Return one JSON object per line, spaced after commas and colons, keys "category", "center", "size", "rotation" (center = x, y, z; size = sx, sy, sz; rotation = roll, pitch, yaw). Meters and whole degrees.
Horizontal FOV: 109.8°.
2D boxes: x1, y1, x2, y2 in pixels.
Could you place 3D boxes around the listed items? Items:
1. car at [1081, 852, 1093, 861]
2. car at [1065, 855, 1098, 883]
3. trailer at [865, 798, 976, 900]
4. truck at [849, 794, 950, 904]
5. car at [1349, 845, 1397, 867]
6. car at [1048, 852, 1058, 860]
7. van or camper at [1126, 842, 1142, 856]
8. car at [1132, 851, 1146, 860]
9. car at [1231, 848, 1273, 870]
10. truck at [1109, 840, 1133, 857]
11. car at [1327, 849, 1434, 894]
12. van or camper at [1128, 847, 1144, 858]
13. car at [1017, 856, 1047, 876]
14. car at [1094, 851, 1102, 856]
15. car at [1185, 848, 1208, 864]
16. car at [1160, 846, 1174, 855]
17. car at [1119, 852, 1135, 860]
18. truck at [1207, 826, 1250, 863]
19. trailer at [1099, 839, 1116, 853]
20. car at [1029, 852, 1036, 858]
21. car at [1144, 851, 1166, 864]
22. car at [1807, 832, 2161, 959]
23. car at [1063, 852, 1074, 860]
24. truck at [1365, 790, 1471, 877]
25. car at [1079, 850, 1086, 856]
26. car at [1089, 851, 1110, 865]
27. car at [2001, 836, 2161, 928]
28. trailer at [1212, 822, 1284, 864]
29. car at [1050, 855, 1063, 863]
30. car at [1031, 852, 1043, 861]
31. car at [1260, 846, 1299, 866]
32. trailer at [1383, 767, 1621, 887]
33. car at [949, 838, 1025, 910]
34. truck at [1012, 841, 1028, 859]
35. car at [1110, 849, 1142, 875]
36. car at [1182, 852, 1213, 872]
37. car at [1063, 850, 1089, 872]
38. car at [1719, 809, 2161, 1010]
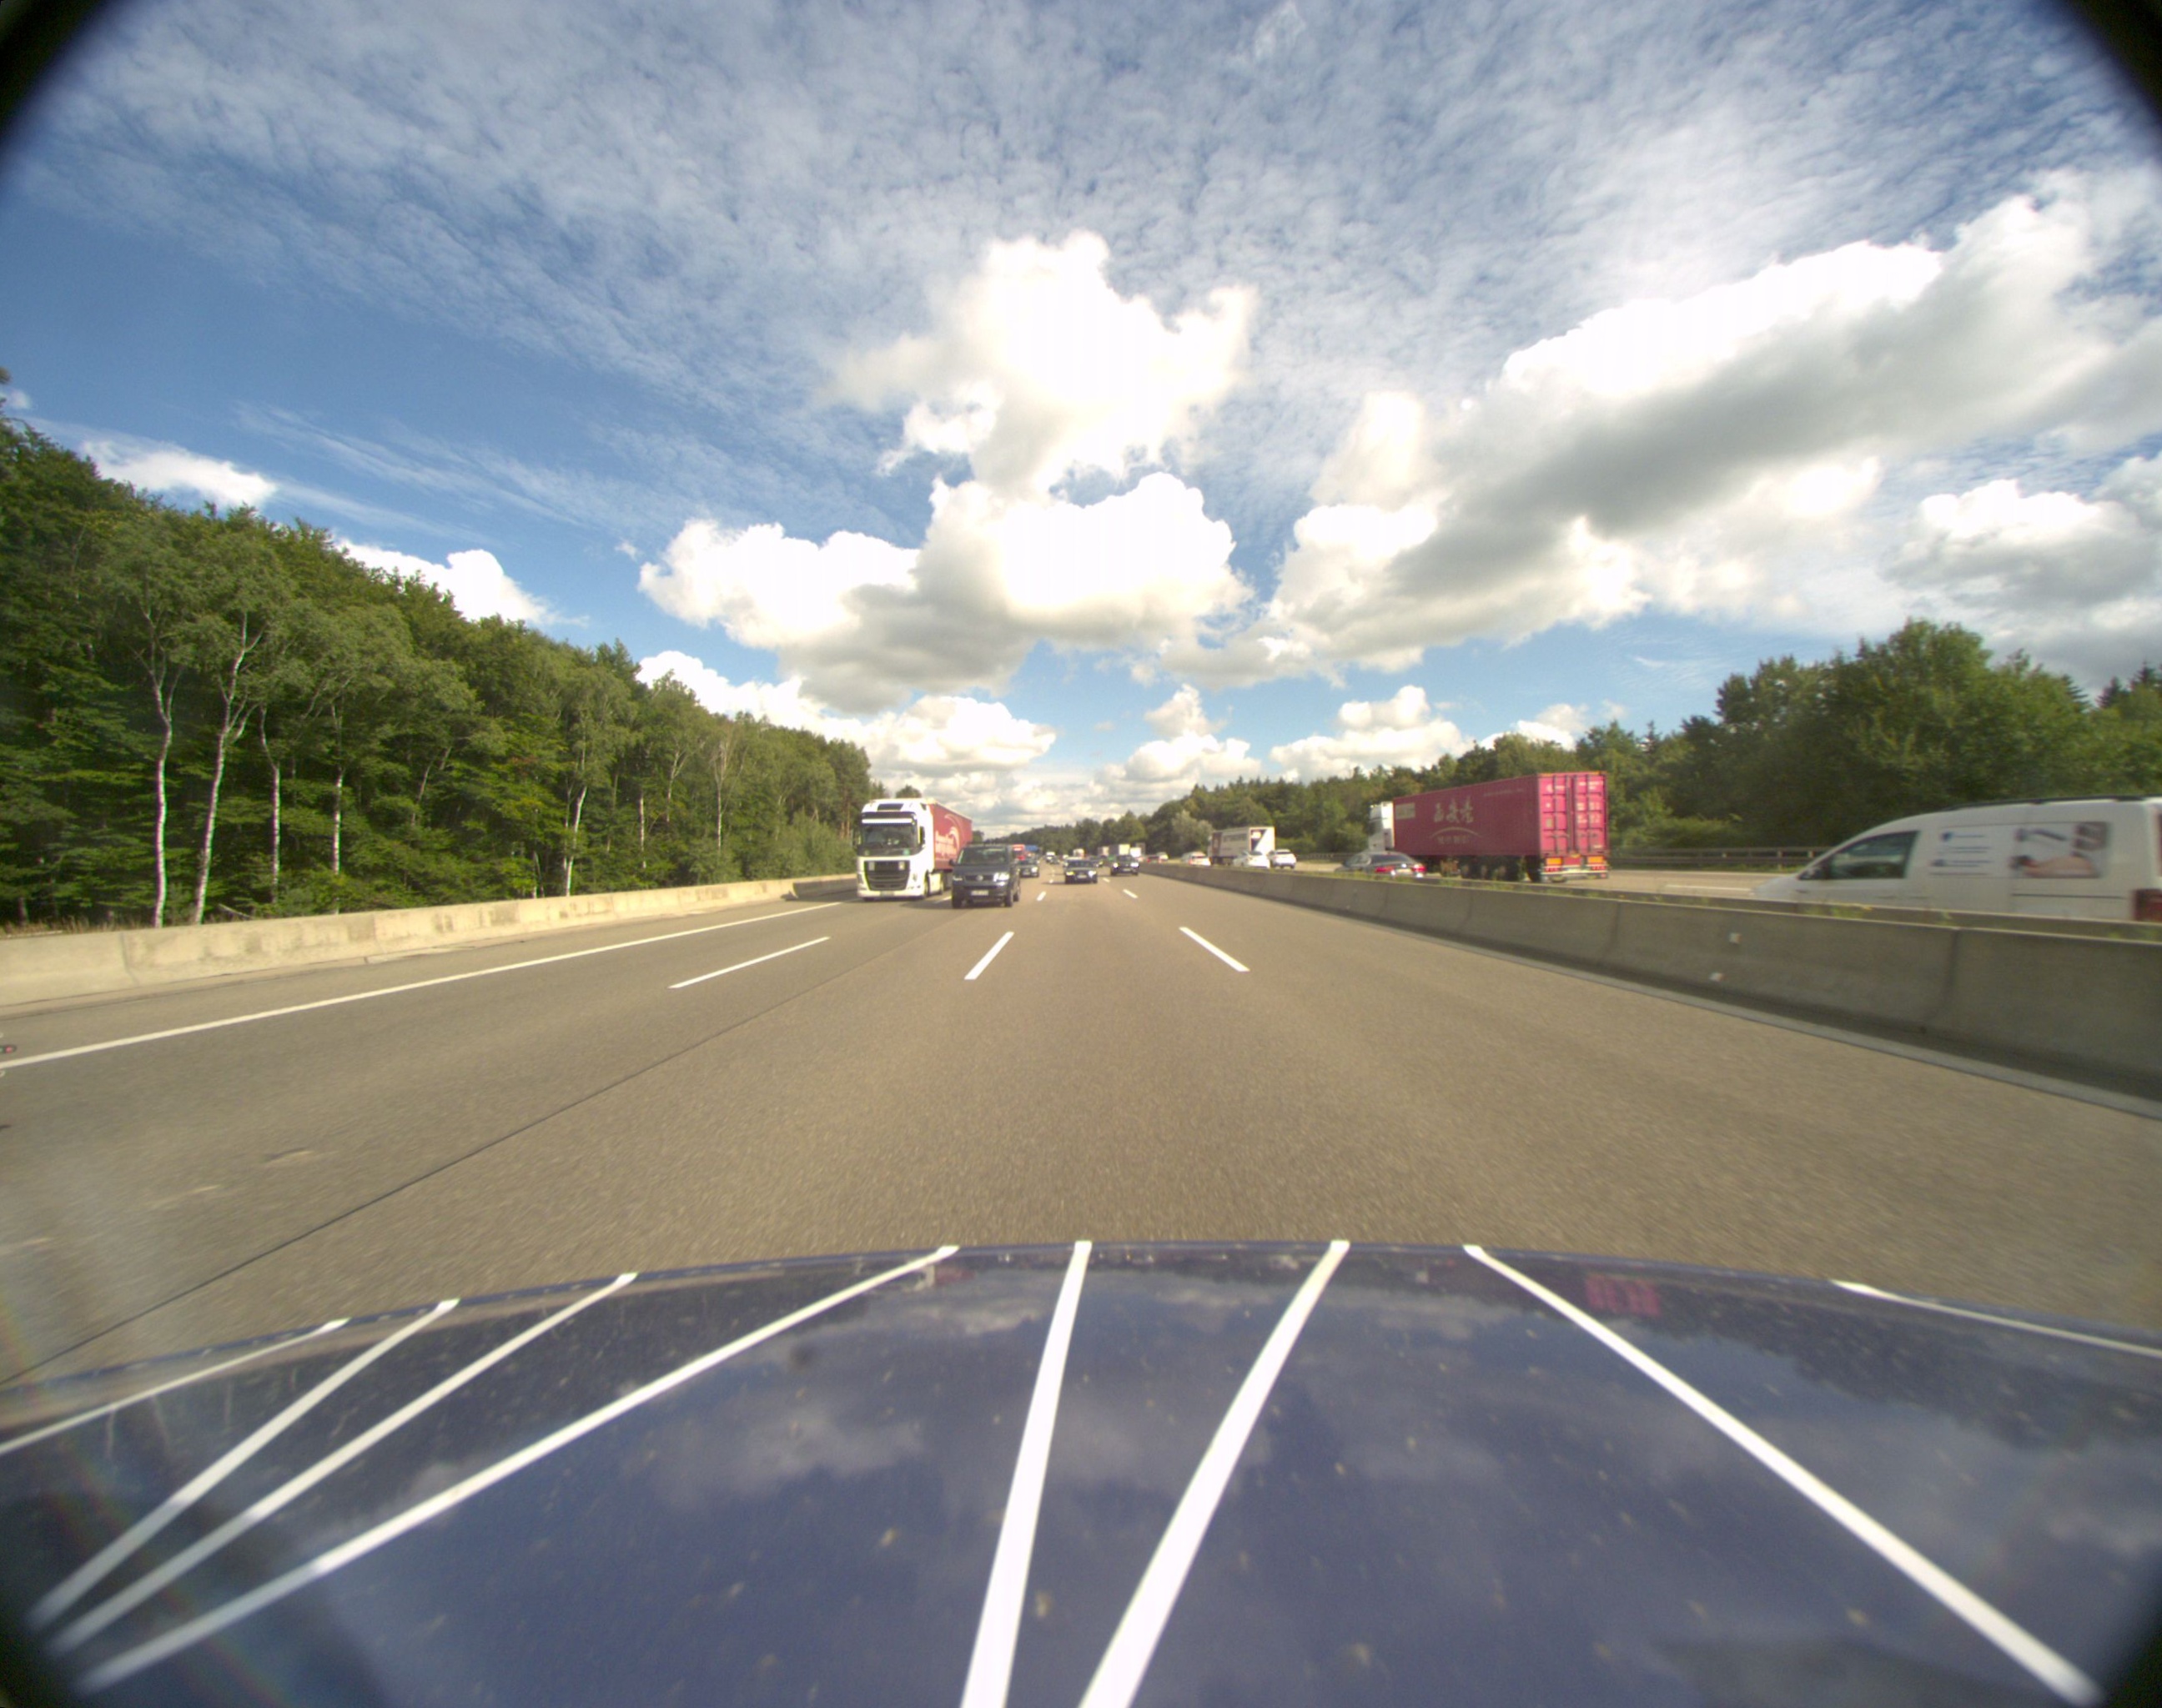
{"category": "car", "center": [1.196, 0.537, 152.944], "size": [2.153, 1.806, 4.675], "rotation": [-1, 0, -3]}
{"category": "car", "center": [0.043, 0.818, 43.953], "size": [1.733, 1.500, 4.728], "rotation": [-2, 0, 0]}
{"category": "trailer", "center": [-7.405, -0.210, 37.467], "size": [2.781, 4.021, 13.710], "rotation": [-1, 0, -1]}
{"category": "truck", "center": [-7.270, -0.193, 31.220], "size": [2.781, 4.022, 5.772], "rotation": [-1, 0, -2]}
{"category": "car", "center": [20.548, 0.149, 53.678], "size": [1.629, 1.418, 4.284], "rotation": [-2, 0, -1]}
{"category": "car", "center": [-6.687, 0.570, 179.318], "size": [2.153, 1.806, 4.675], "rotation": [-1, 0, -3]}
{"category": "van or camper", "center": [11.457, -1.039, 164.364], "size": [2.381, 2.875, 6.502], "rotation": [0, 0, -6]}
{"category": "car", "center": [9.696, 0.212, 127.214], "size": [1.774, 1.386, 4.689], "rotation": [-2, 0, -4]}
{"category": "car", "center": [12.934, 0.357, 57.771], "size": [1.862, 1.516, 4.994], "rotation": [-2, 0, -1]}
{"category": "truck", "center": [9.821, -1.290, 187.765], "size": [2.829, 4.070, 13.832], "rotation": [-2, 0, -10]}
{"category": "car", "center": [10.258, 0.548, 26.445], "size": [1.798, 1.367, 4.548], "rotation": [-2, 0, -1]}
{"category": "van or camper", "center": [10.177, -0.226, 141.009], "size": [1.999, 1.926, 5.454], "rotation": [-2, 0, -6]}
{"category": "car", "center": [-3.914, 0.892, 60.027], "size": [2.154, 1.426, 5.096], "rotation": [-2, 0, -6]}
{"category": "car", "center": [5.475, -0.117, 241.383], "size": [1.854, 1.559, 4.366], "rotation": [-2, 0, -6]}
{"category": "car", "center": [12.617, 0.203, 83.323], "size": [1.713, 1.584, 4.943], "rotation": [-2, 0, -1]}
{"category": "car", "center": [17.164, -0.666, 151.741], "size": [2.177, 1.674, 4.785], "rotation": [-2, 0, -1]}
{"category": "car", "center": [7.127, 0.306, 117.764], "size": [1.816, 1.154, 4.512], "rotation": [-2, 0, -6]}
{"category": "truck", "center": [17.222, -1.124, 89.127], "size": [3.327, 4.083, 6.222], "rotation": [-2, 0, -5]}
{"category": "trailer", "center": [7.480, -2.216, 215.320], "size": [2.976, 3.835, 11.274], "rotation": [-2, 0, -6]}
{"category": "car", "center": [-14.068, 0.269, 220.998], "size": [2.153, 1.806, 4.675], "rotation": [-1, 0, -3]}
{"category": "car", "center": [8.428, 0.358, 86.922], "size": [1.999, 1.354, 4.618], "rotation": [-2, 0, -2]}
{"category": "car", "center": [13.954, 0.480, 11.383], "size": [1.702, 1.519, 4.684], "rotation": [-2, 0, 1]}
{"category": "car", "center": [-2.648, 0.393, 165.204], "size": [2.153, 1.806, 4.675], "rotation": [-1, 0, -3]}
{"category": "truck", "center": [17.215, -0.986, 39.241], "size": [2.746, 4.083, 5.763], "rotation": [-2, 0, -1]}
{"category": "car", "center": [0.566, -0.297, 255.538], "size": [1.854, 1.867, 4.613], "rotation": [-2, 0, -6]}
{"category": "car", "center": [2.297, 0.492, 95.941], "size": [2.153, 1.540, 4.675], "rotation": [-2, 0, -3]}
{"category": "car", "center": [17.672, 0.428, 11.894], "size": [1.642, 1.407, 3.999], "rotation": [-2, 0, -1]}
{"category": "trailer", "center": [17.872, -1.113, 82.630], "size": [3.327, 4.083, 14.147], "rotation": [-2, 0, -6]}
{"category": "car", "center": [-4.746, 0.905, 144.913], "size": [2.154, 1.540, 4.674], "rotation": [-1, 0, -6]}
{"category": "car", "center": [-8.302, 0.405, 142.439], "size": [2.153, 1.540, 4.675], "rotation": [-1, 0, -4]}
{"category": "car", "center": [16.873, 0.164, 64.799], "size": [1.798, 1.608, 5.044], "rotation": [-2, 0, -1]}
{"category": "trailer", "center": [17.282, -0.962, 33.086], "size": [2.746, 4.083, 13.414], "rotation": [-2, 0, -1]}
{"category": "car", "center": [-2.995, 0.593, 25.333], "size": [1.854, 2.097, 4.932], "rotation": [-2, 0, 0]}
{"category": "truck", "center": [-13.071, -0.794, 162.350], "size": [3.019, 3.662, 7.557], "rotation": [-1, 0, -6]}
{"category": "car", "center": [3.333, 0.537, 57.289], "size": [2.152, 1.800, 5.099], "rotation": [-2, 1, 1]}
{"category": "car", "center": [9.402, 0.603, 61.549], "size": [1.774, 1.433, 4.850], "rotation": [-2, 0, 0]}
{"category": "car", "center": [-0.483, 0.624, 67.702], "size": [2.153, 1.800, 5.098], "rotation": [-2, 1, -1]}
{"category": "car", "center": [9.682, 0.415, 8.202], "size": [1.774, 1.639, 4.519], "rotation": [-2, 0, 0]}
